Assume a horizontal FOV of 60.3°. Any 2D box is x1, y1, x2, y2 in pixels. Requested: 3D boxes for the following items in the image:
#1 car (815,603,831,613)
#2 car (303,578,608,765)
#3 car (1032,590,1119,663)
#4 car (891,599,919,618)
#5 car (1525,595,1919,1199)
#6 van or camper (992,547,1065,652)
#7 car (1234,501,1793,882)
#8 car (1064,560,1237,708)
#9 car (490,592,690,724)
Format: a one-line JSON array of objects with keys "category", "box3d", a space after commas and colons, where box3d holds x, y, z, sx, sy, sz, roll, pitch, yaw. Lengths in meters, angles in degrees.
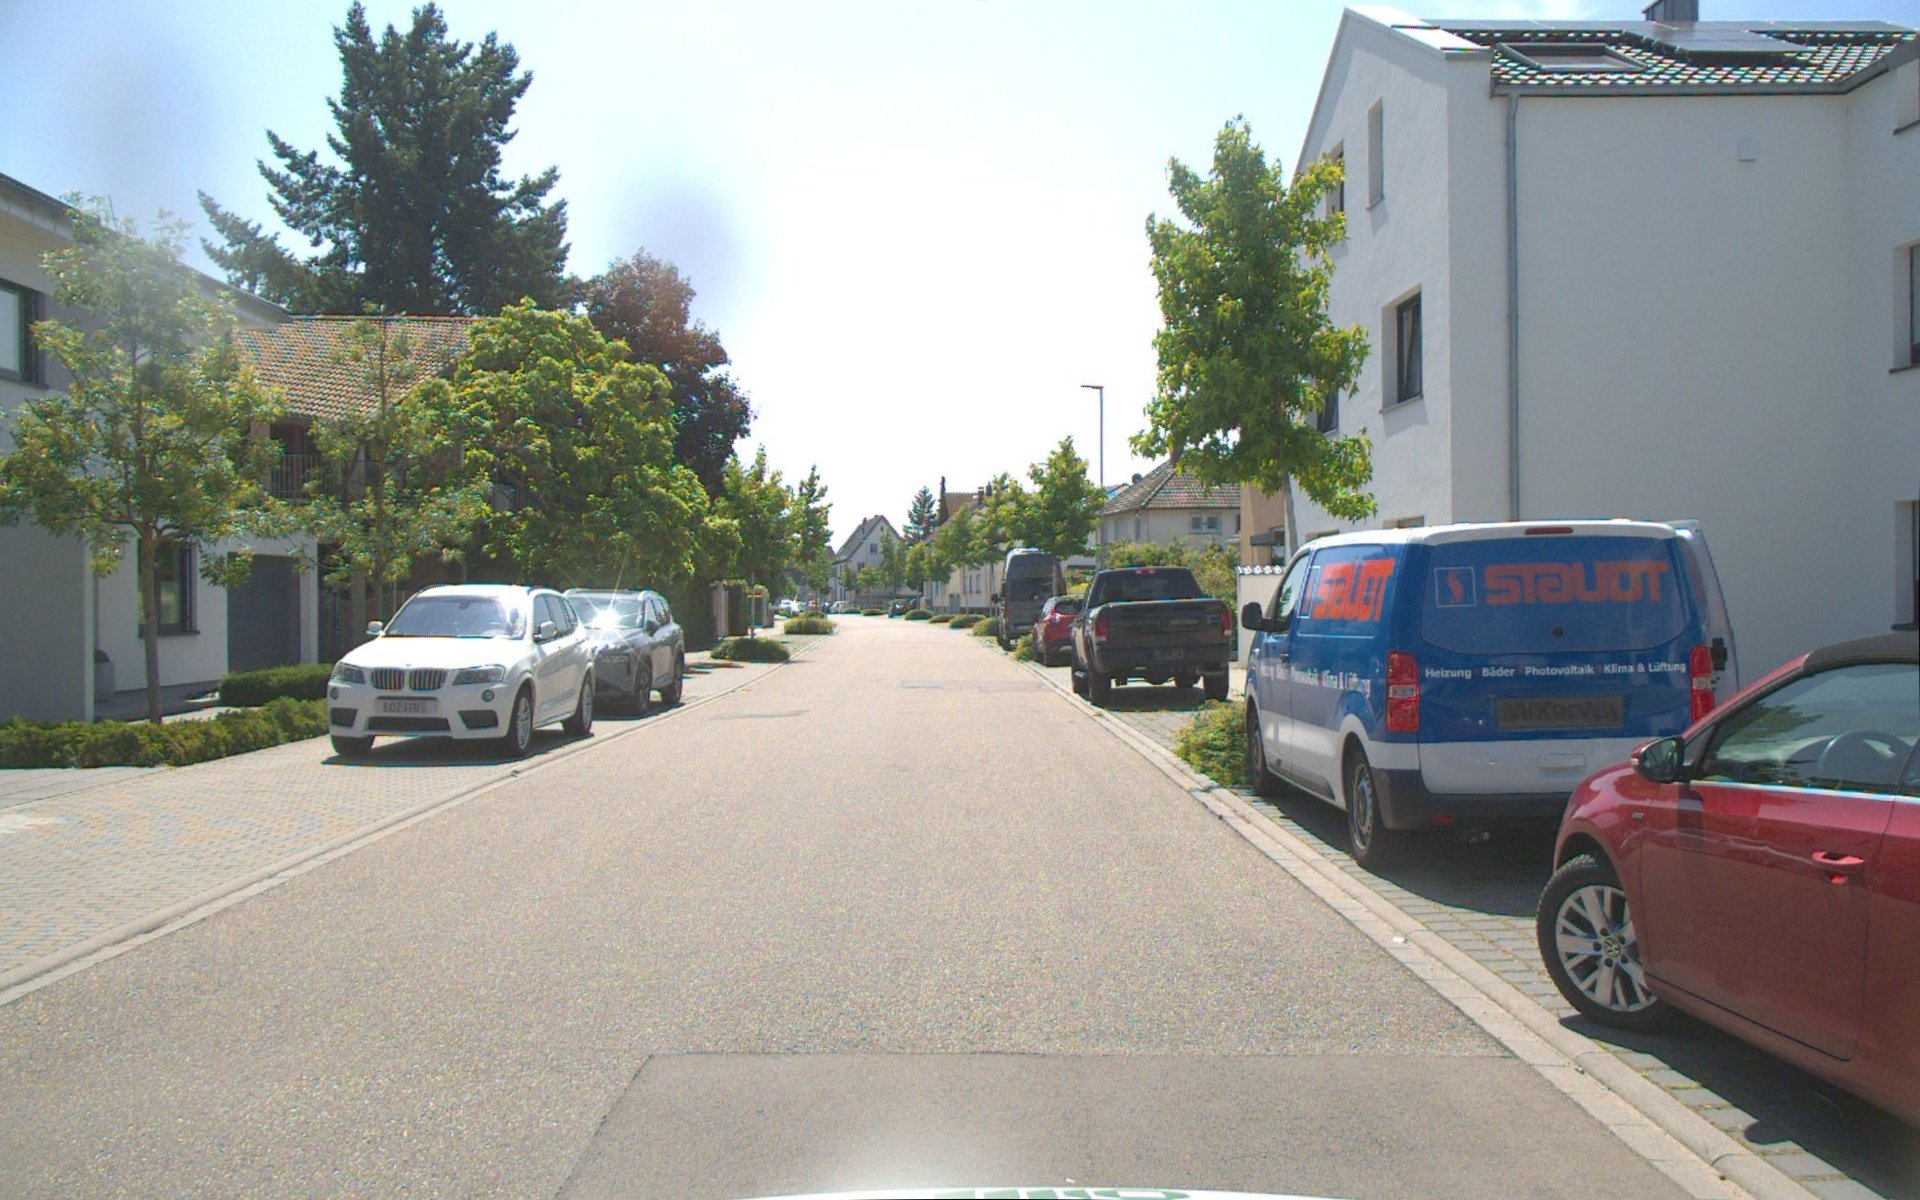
[{"category": "car", "box3d": [-16.961, 0.962, 204.472, 1.632, 1.272, 3.923, -1, 0, -9]}, {"category": "car", "box3d": [-5.172, 0.665, 17.632, 1.888, 1.716, 4.497, -1, 0, -1]}, {"category": "car", "box3d": [2.701, 0.607, 39.291, 1.637, 1.623, 3.554, -1, 0, -3]}, {"category": "car", "box3d": [-4.839, 0.753, 144.252, 1.957, 1.601, 3.991, -1, 0, -9]}, {"category": "car", "box3d": [3.113, 0.726, 4.422, 1.646, 1.467, 4.024, -1, 0, -3]}, {"category": "van or camper", "box3d": [2.037, -0.015, 50.068, 1.953, 2.993, 3.999, -1, 0, -1]}, {"category": "car", "box3d": [3.229, 0.469, 10.876, 2.056, 1.915, 4.842, -1, 0, 0]}, {"category": "car", "box3d": [2.785, 0.471, 25.386, 1.953, 1.981, 5.214, -2, 0, -1]}, {"category": "car", "box3d": [-5.224, 0.764, 23.908, 1.953, 1.710, 4.214, -1, 0, -1]}]
